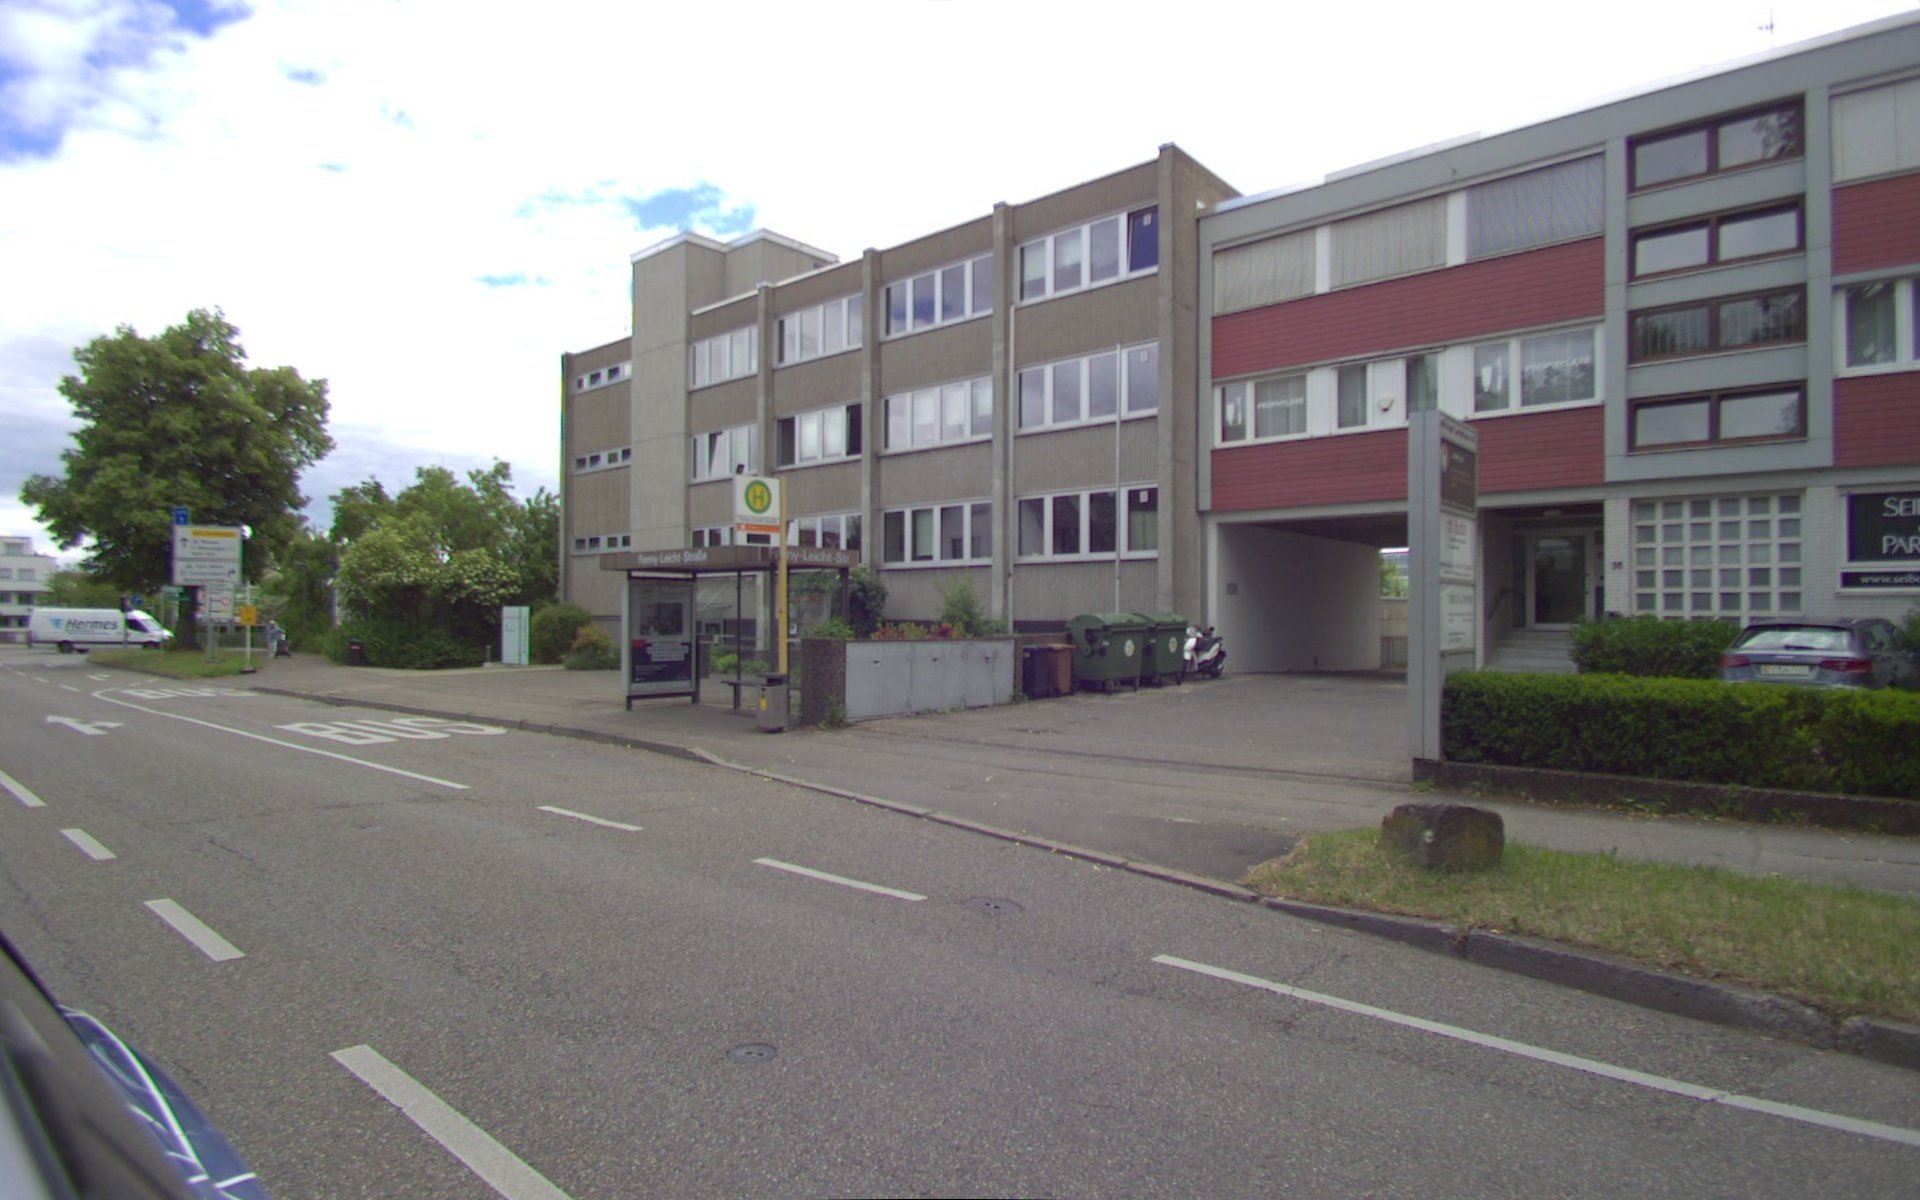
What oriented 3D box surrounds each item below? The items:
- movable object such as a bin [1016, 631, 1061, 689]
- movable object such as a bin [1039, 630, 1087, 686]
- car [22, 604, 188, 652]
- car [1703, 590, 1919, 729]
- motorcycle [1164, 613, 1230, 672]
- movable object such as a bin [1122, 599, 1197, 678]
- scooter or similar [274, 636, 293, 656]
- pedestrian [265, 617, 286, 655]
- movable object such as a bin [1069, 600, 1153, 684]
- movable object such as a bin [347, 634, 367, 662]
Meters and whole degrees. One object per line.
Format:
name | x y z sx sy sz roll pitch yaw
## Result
movable object such as a bin | 1.340 1.020 17.320 0.562 0.946 0.510 -1 0 41
movable object such as a bin | 1.819 1.011 17.869 0.562 0.946 0.626 -1 0 41
car | -51.016 1.629 60.552 7.320 2.665 2.204 -1 0 -15
car | 11.468 0.640 13.041 4.082 1.490 1.817 -1 0 -35
motorcycle | 5.001 0.878 21.285 0.639 1.148 1.624 -1 0 41
movable object such as a bin | 3.945 0.732 19.954 0.884 1.476 1.347 -1 0 41
scooter or similar | -27.965 1.890 41.843 0.598 0.792 0.861 -1 0 -32
pedestrian | -28.641 1.488 42.347 0.662 1.570 0.521 -1 0 -32
movable object such as a bin | 2.803 0.749 18.718 0.992 1.476 1.285 -1 0 41
movable object such as a bin | -20.627 1.634 34.642 0.558 0.934 0.609 0 0 -33
